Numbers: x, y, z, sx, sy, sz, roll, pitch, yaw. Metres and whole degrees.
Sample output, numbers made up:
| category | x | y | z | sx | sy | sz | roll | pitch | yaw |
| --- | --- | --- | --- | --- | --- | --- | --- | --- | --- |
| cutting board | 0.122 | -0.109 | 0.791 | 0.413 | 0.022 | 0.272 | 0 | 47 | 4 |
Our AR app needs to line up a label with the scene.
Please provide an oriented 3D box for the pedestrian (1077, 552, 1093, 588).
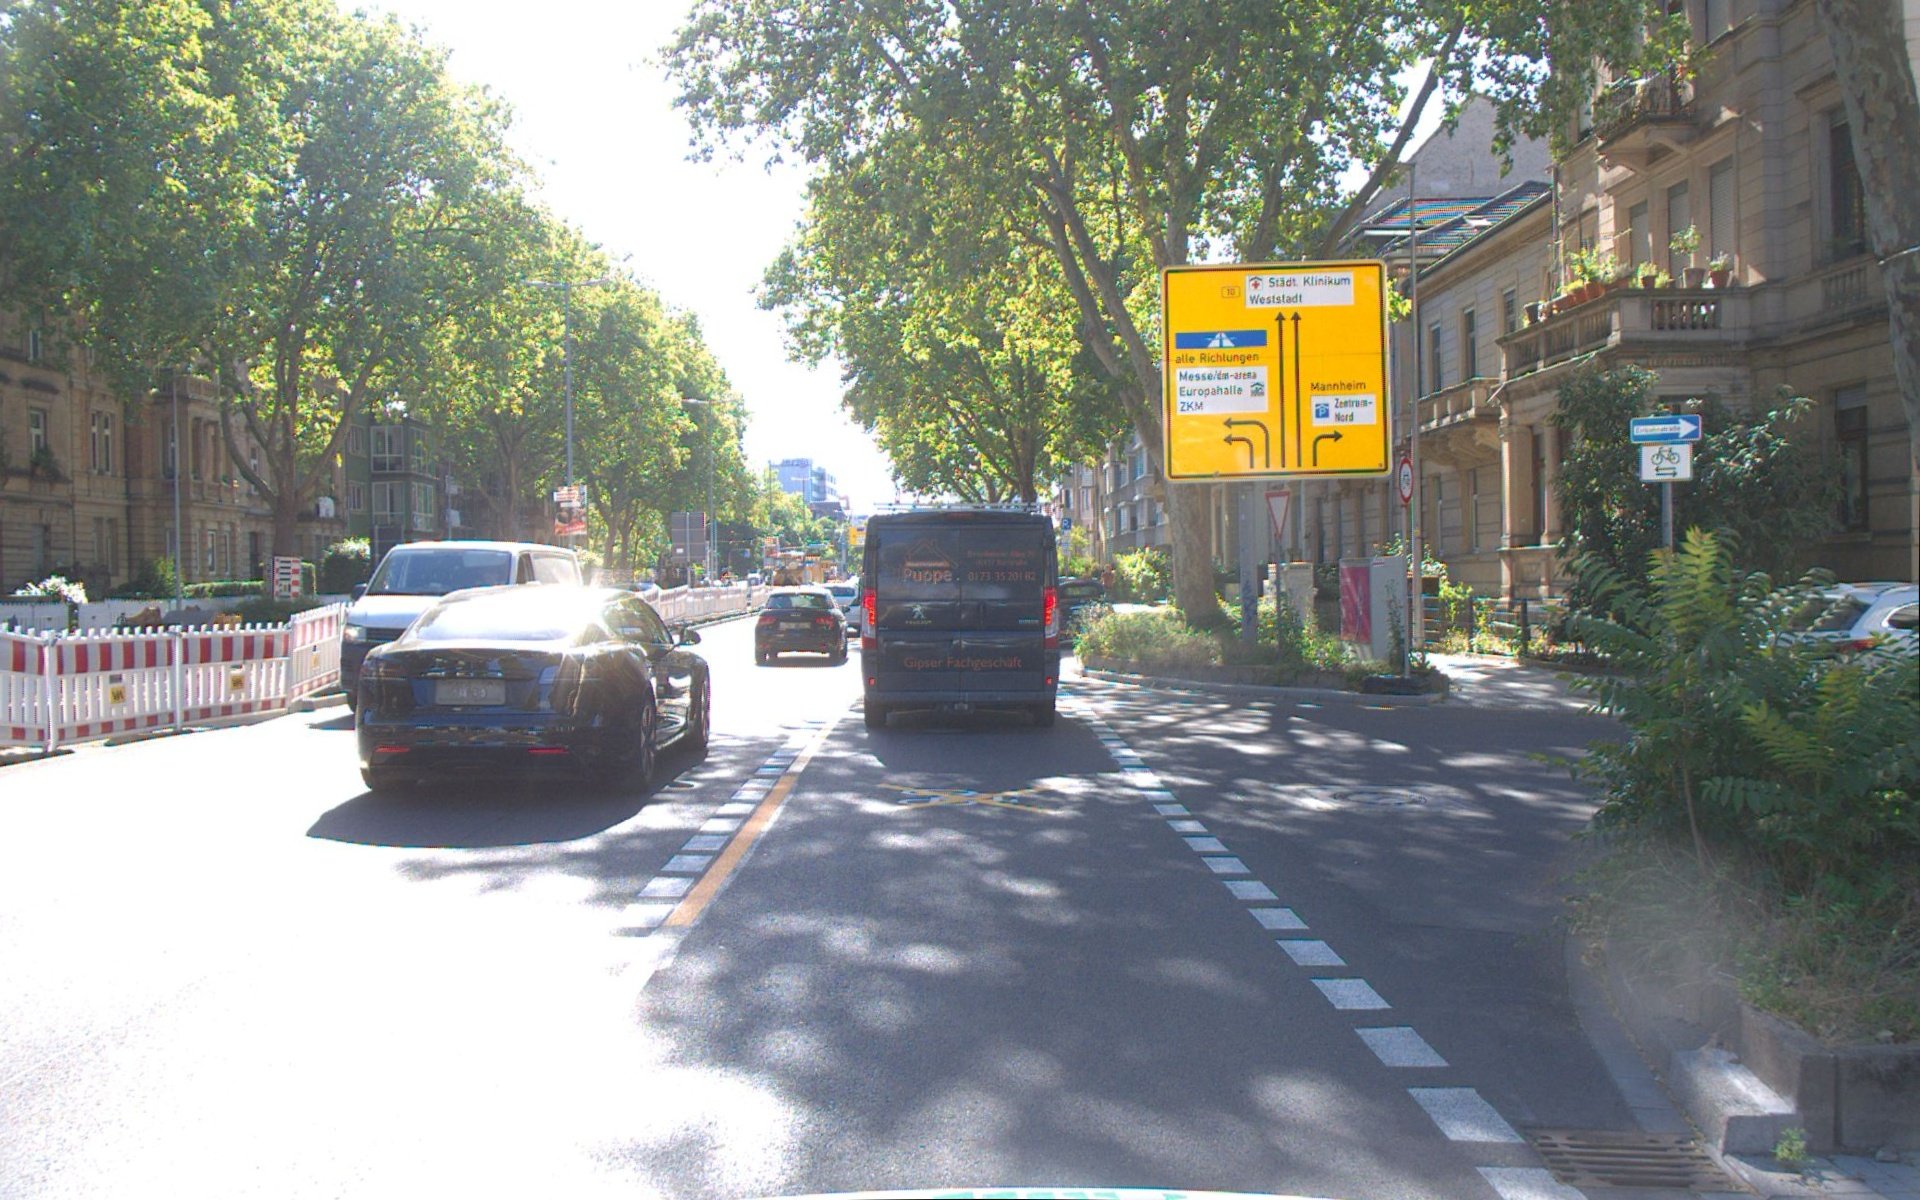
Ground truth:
| category | x | y | z | sx | sy | sz | roll | pitch | yaw |
| --- | --- | --- | --- | --- | --- | --- | --- | --- | --- |
| pedestrian | 8.499 | -2.049 | 112.794 | 1.036 | 2.387 | 0.816 | 0 | 0 | 2 |

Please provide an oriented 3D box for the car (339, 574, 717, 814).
| category | x | y | z | sx | sy | sz | roll | pitch | yaw |
| --- | --- | --- | --- | --- | --- | --- | --- | --- | --- |
| car | -3.068 | 0.571 | 12.739 | 1.800 | 1.509 | 4.475 | 0 | 1 | -1 |

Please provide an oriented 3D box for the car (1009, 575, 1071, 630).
| category | x | y | z | sx | sy | sz | roll | pitch | yaw |
| --- | --- | --- | --- | --- | --- | --- | --- | --- | --- |
| car | 2.433 | 0.064 | 51.223 | 1.736 | 1.596 | 4.000 | -1 | 0 | 1 |

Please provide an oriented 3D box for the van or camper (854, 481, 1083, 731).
| category | x | y | z | sx | sy | sz | roll | pitch | yaw |
| --- | --- | --- | --- | --- | --- | --- | --- | --- | --- |
| van or camper | -0.004 | 0.032 | 18.219 | 2.200 | 2.387 | 4.535 | 0 | 1 | -2 |

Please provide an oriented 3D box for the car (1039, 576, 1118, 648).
| category | x | y | z | sx | sy | sz | roll | pitch | yaw |
| --- | --- | --- | --- | --- | --- | --- | --- | --- | --- |
| car | 2.730 | 0.245 | 38.671 | 1.736 | 1.596 | 4.002 | 0 | 0 | 3 |

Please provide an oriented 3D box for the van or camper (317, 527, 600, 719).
| category | x | y | z | sx | sy | sz | roll | pitch | yaw |
| --- | --- | --- | --- | --- | --- | --- | --- | --- | --- |
| van or camper | -5.976 | 0.226 | 20.448 | 1.953 | 2.049 | 5.327 | 0 | 0 | -1 |

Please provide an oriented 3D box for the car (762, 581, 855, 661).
| category | x | y | z | sx | sy | sz | roll | pitch | yaw |
| --- | --- | --- | --- | --- | --- | --- | --- | --- | --- |
| car | -2.975 | 0.381 | 33.066 | 1.587 | 1.512 | 3.733 | 0 | 1 | -1 |

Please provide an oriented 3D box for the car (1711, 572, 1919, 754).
| category | x | y | z | sx | sy | sz | roll | pitch | yaw |
| --- | --- | --- | --- | --- | --- | --- | --- | --- | --- |
| car | 9.228 | 0.515 | 15.220 | 3.978 | 1.512 | 1.832 | -1 | -1 | -16 |

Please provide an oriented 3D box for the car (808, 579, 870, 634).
| category | x | y | z | sx | sy | sz | roll | pitch | yaw |
| --- | --- | --- | --- | --- | --- | --- | --- | --- | --- |
| car | -3.450 | 0.154 | 47.628 | 1.587 | 1.512 | 3.733 | 0 | 1 | -1 |
